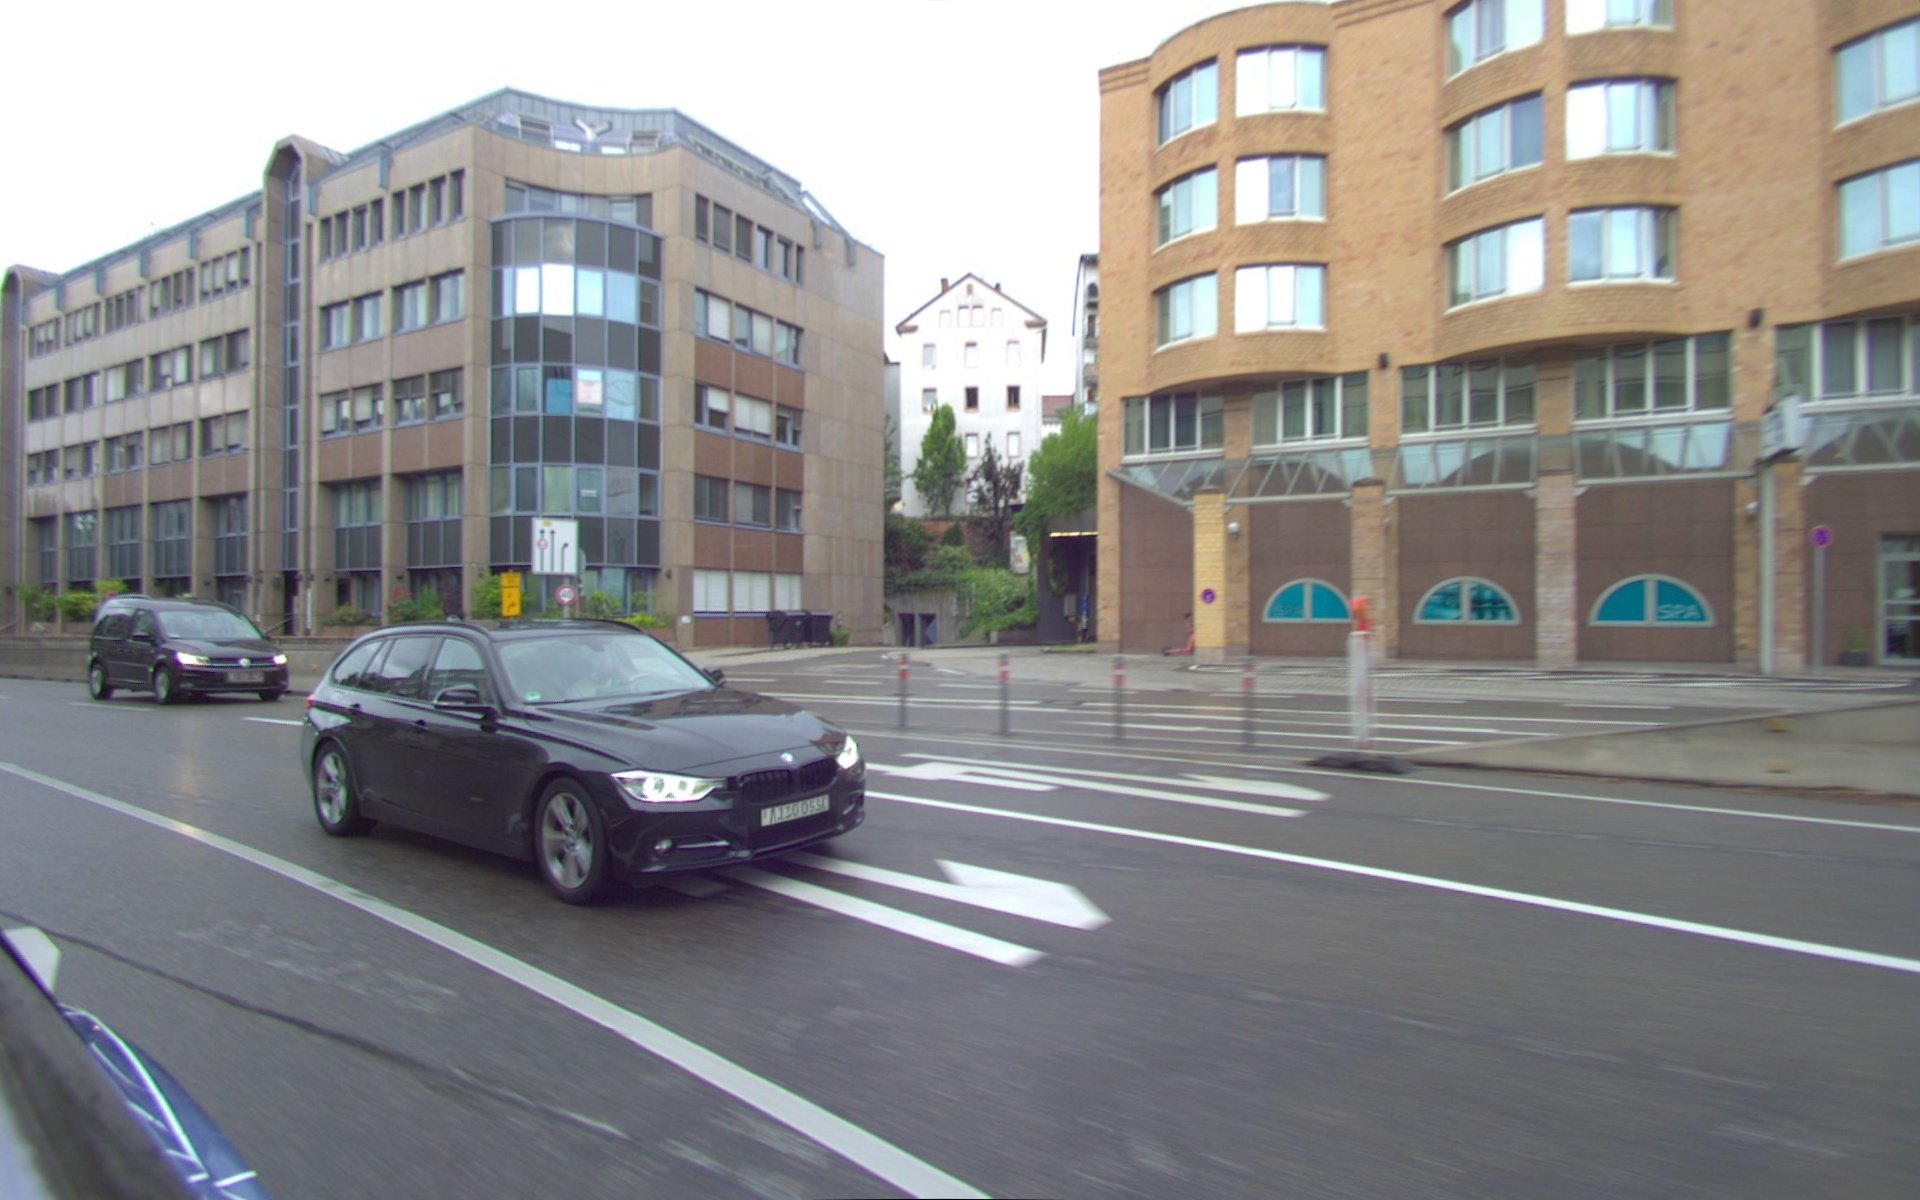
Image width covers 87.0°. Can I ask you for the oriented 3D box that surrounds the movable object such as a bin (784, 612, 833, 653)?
[{"bbox_3d":[-5.677,1.218,37.948,1.348,1.491,1.231,-2,-2,38],"label":"movable object such as a bin"}]

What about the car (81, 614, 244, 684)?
[{"bbox_3d":[-22.083,1.313,28.000,4.856,1.797,1.873,-1,-1,30],"label":"car"}]

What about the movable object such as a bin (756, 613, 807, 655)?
[{"bbox_3d":[-6.498,1.233,36.882,1.348,1.491,1.231,-2,-2,37],"label":"movable object such as a bin"}]

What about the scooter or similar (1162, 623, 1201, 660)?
[{"bbox_3d":[6.440,1.212,29.417,1.037,1.071,0.447,-1,-2,20],"label":"scooter or similar"}]

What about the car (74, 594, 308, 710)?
[{"bbox_3d":[-13.432,0.860,17.635,4.234,1.814,1.781,-1,-1,30],"label":"car"}]

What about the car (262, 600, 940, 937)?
[{"bbox_3d":[-2.505,0.788,6.459,4.646,1.454,1.752,-2,-2,36],"label":"car"}]
